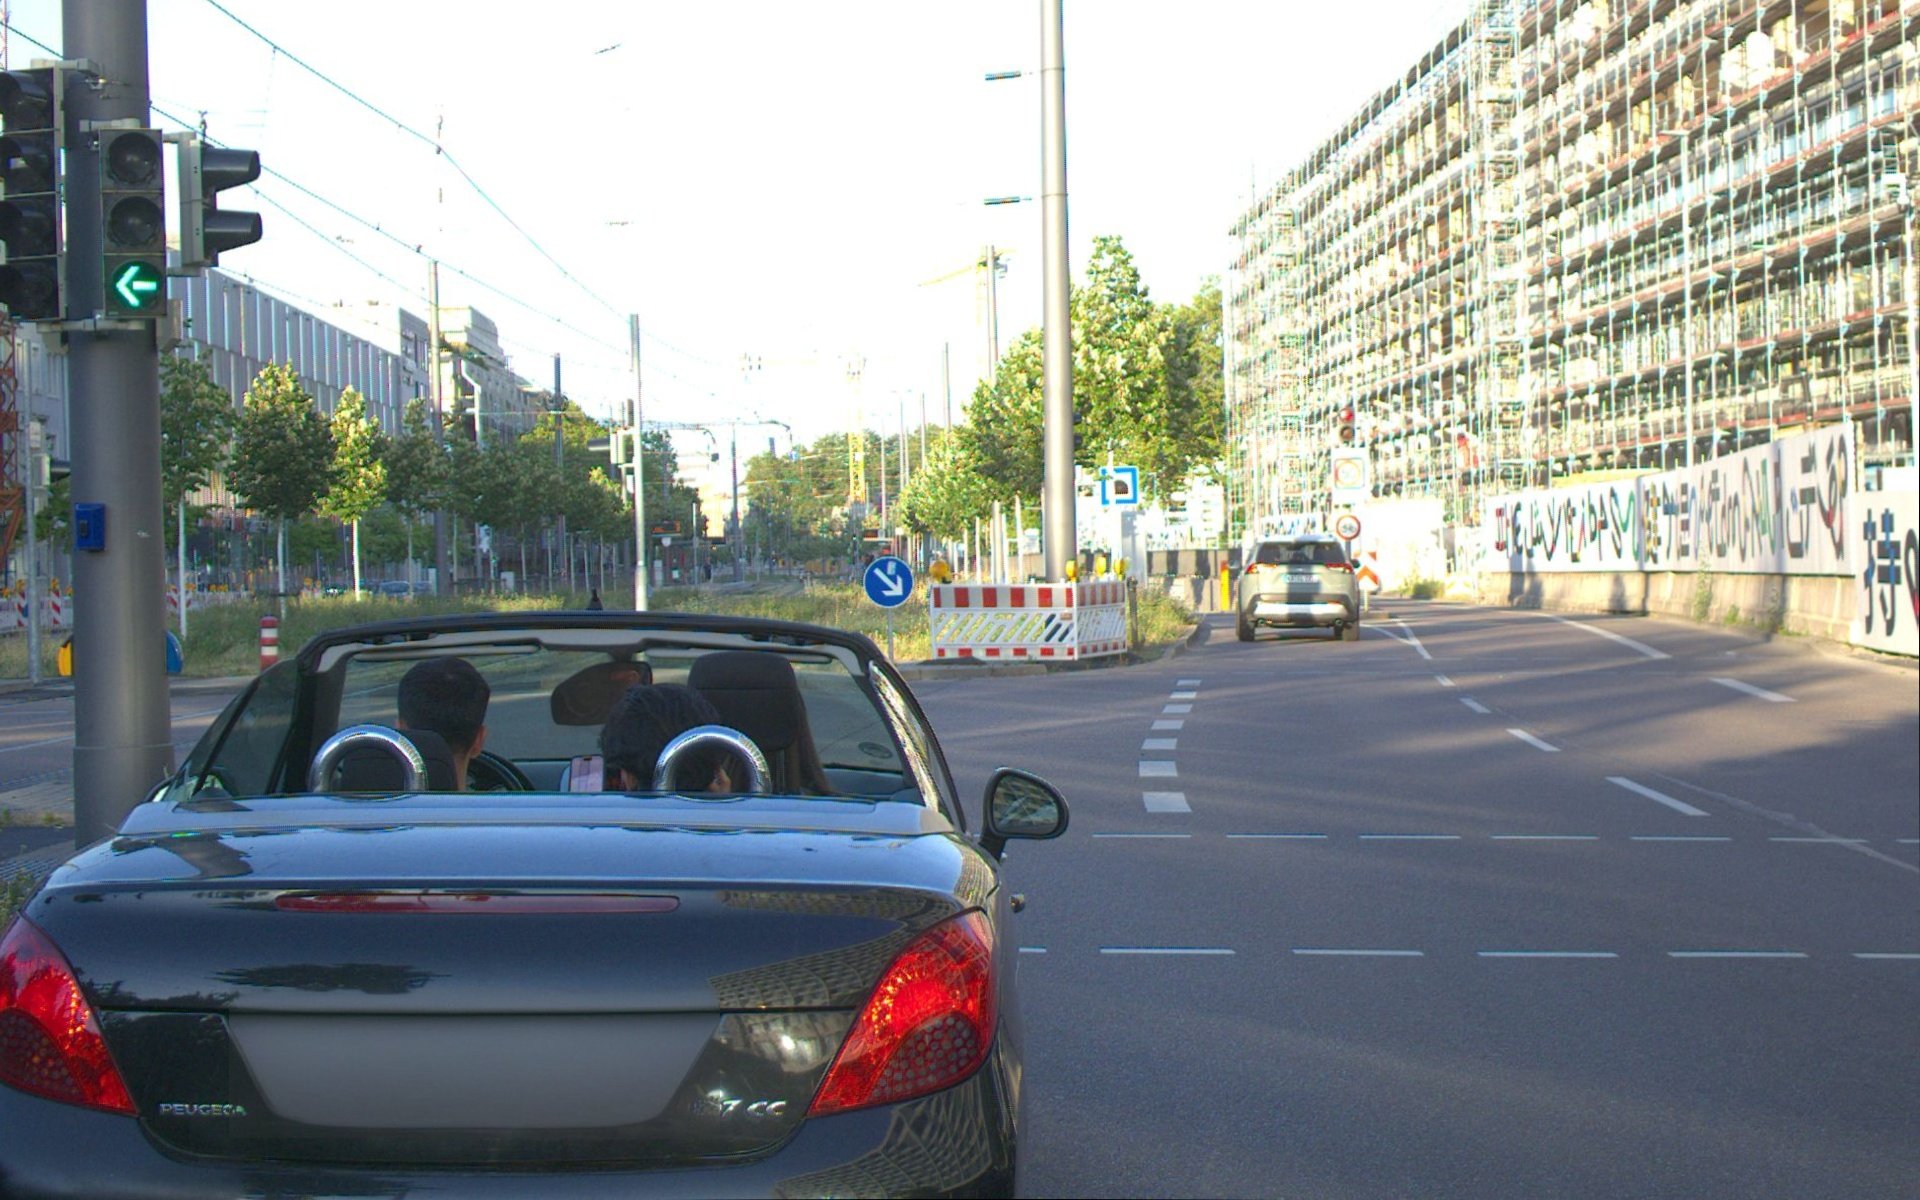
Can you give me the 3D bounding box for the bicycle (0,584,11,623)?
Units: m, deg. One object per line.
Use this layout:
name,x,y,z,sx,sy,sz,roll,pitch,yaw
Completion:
bicycle,-24.432,0.088,86.639,0.590,0.972,1.556,1,1,-1

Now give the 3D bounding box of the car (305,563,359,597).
car,-27.622,-0.893,151.263,1.658,1.426,3.895,1,1,0

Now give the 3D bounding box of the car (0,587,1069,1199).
car,-0.724,0.682,6.843,1.674,1.347,4.000,0,1,-1

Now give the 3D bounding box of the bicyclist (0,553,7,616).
bicyclist,-24.423,-0.399,86.631,0.590,1.564,0.711,1,1,-1

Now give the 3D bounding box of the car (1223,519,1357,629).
car,5.164,-0.438,54.219,1.834,1.667,4.282,0,1,2

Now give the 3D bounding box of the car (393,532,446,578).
car,-23.759,-2.007,151.271,1.658,1.957,4.266,1,1,0
